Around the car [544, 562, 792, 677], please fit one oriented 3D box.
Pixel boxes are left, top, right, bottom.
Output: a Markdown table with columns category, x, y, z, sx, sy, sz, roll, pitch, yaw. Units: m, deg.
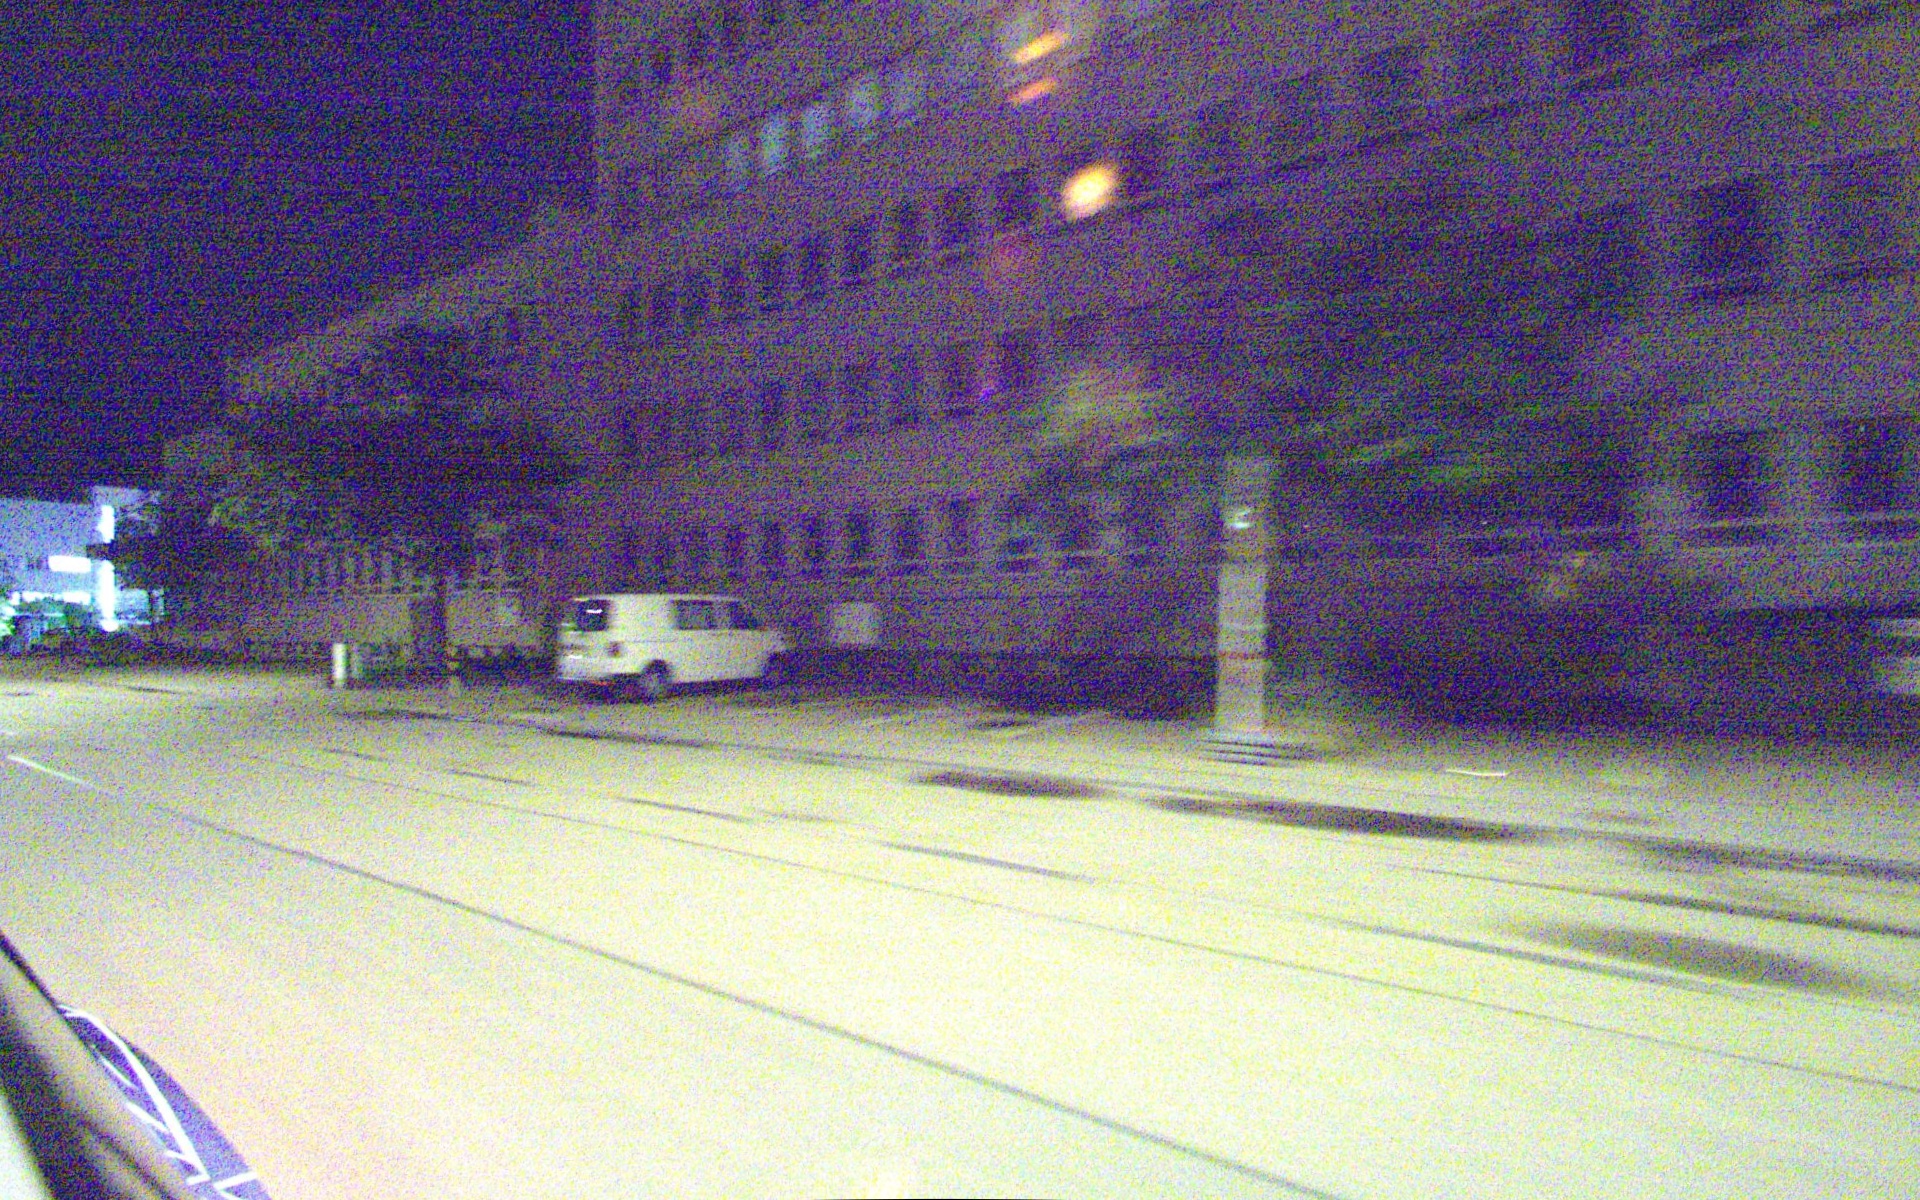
| category | x | y | z | sx | sy | sz | roll | pitch | yaw |
| --- | --- | --- | --- | --- | --- | --- | --- | --- | --- |
| car | -5.583 | 0.350 | 19.861 | 1.996 | 1.987 | 4.392 | -2 | -1 | 36 |

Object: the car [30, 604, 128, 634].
| category | x | y | z | sx | sy | sz | roll | pitch | yaw |
| --- | --- | --- | --- | --- | --- | --- | --- | --- | --- |
| car | -51.303 | 1.077 | 58.992 | 1.801 | 1.474 | 3.955 | -2 | 2 | 33 |
